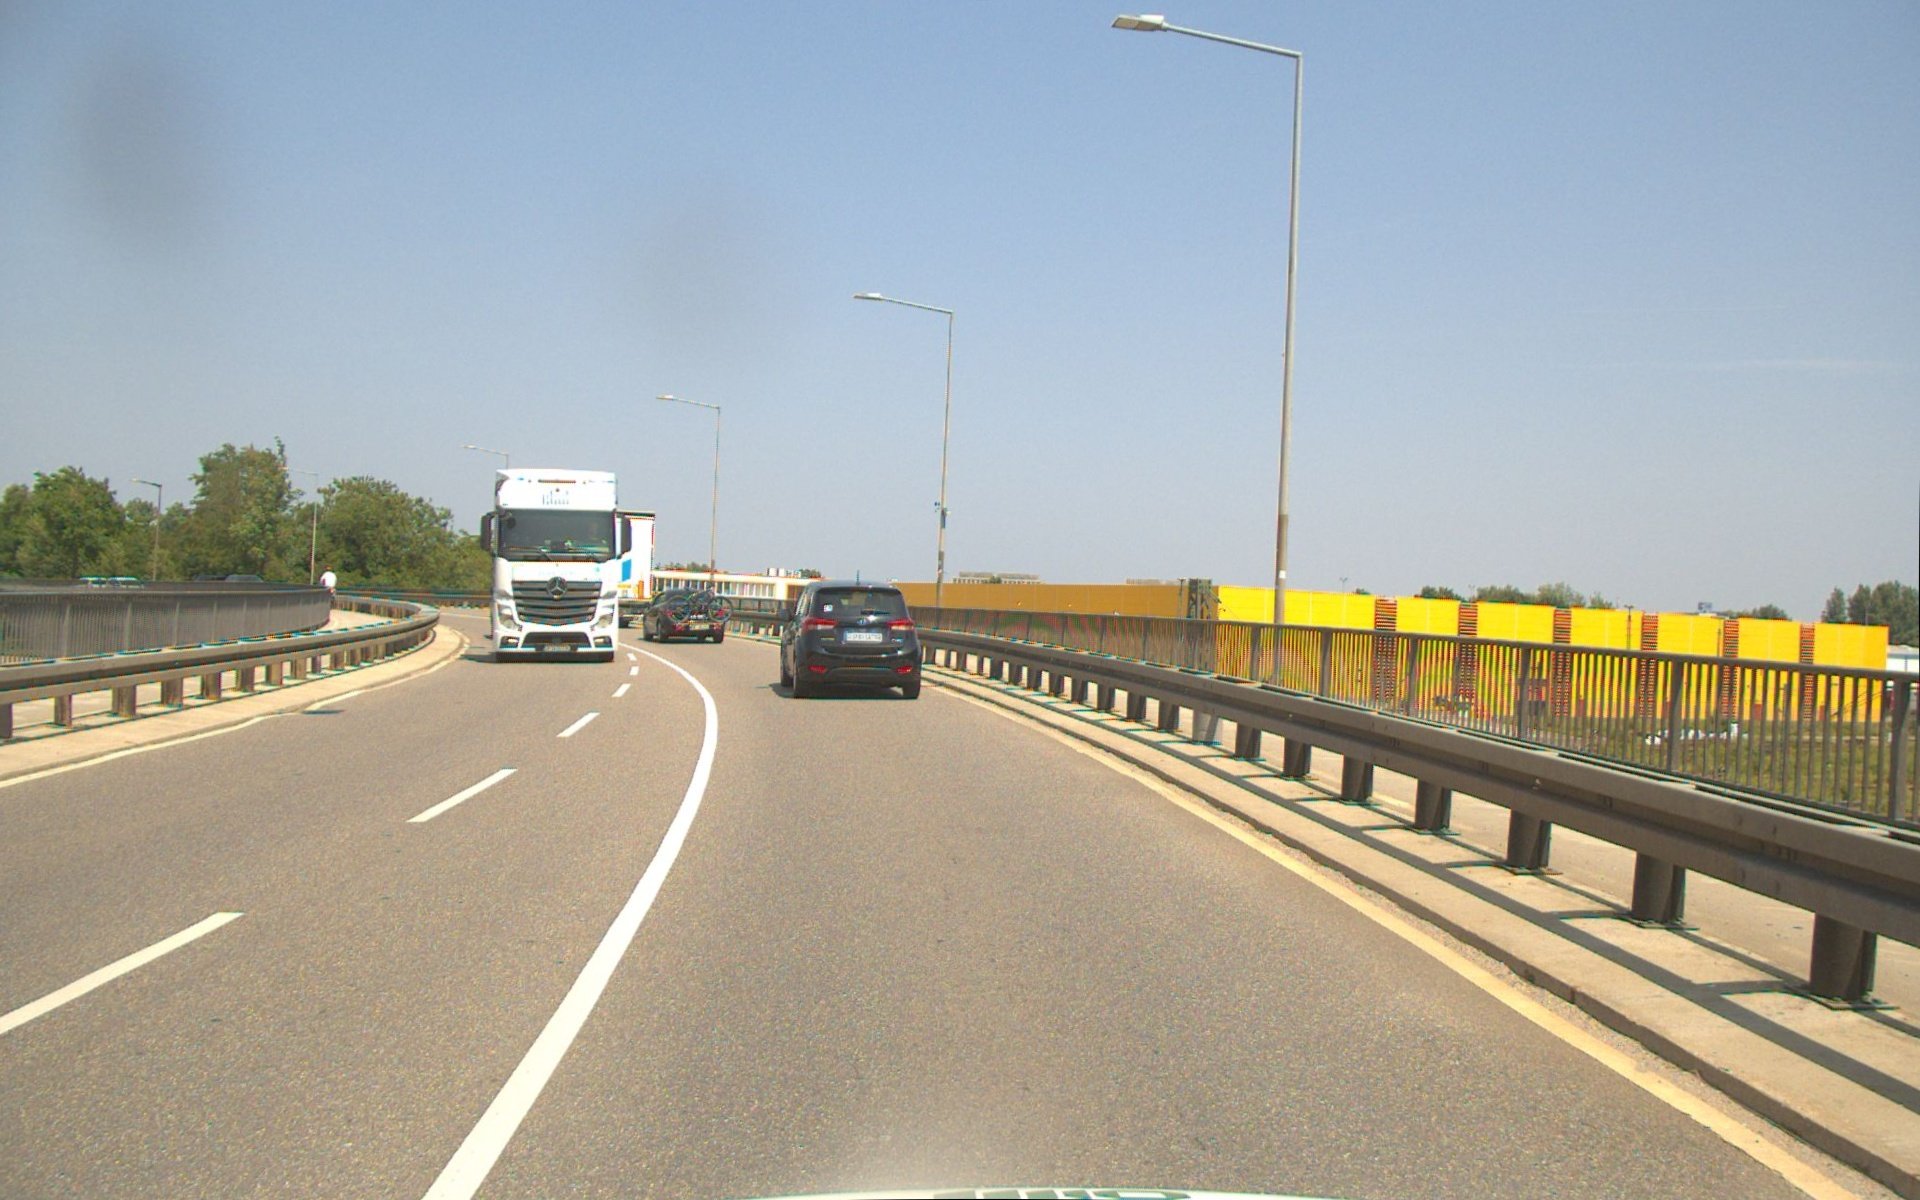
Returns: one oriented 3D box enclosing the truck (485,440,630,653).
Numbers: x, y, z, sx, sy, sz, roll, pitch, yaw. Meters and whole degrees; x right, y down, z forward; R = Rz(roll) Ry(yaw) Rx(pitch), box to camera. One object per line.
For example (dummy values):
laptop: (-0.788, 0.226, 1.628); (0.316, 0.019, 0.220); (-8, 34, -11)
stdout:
truck: (-8.463, -1.100, 35.143); (2.659, 4.061, 6.167); (1, 1, -12)

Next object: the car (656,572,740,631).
car: (-7.090, 0.014, 44.511); (1.977, 1.454, 3.765); (1, 1, -13)

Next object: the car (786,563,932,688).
car: (-1.538, 0.301, 23.798); (1.884, 1.601, 3.886); (1, 1, -6)

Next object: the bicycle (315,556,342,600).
bicycle: (-26.899, -0.935, 70.476); (0.691, 1.833, 2.158); (1, 1, -31)

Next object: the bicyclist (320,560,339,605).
bicyclist: (-26.822, -0.740, 70.335); (0.618, 1.919, 0.705); (1, 1, -31)

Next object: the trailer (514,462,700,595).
trailer: (-13.374, -2.590, 61.628); (3.531, 4.460, 11.330); (1, 1, -29)
